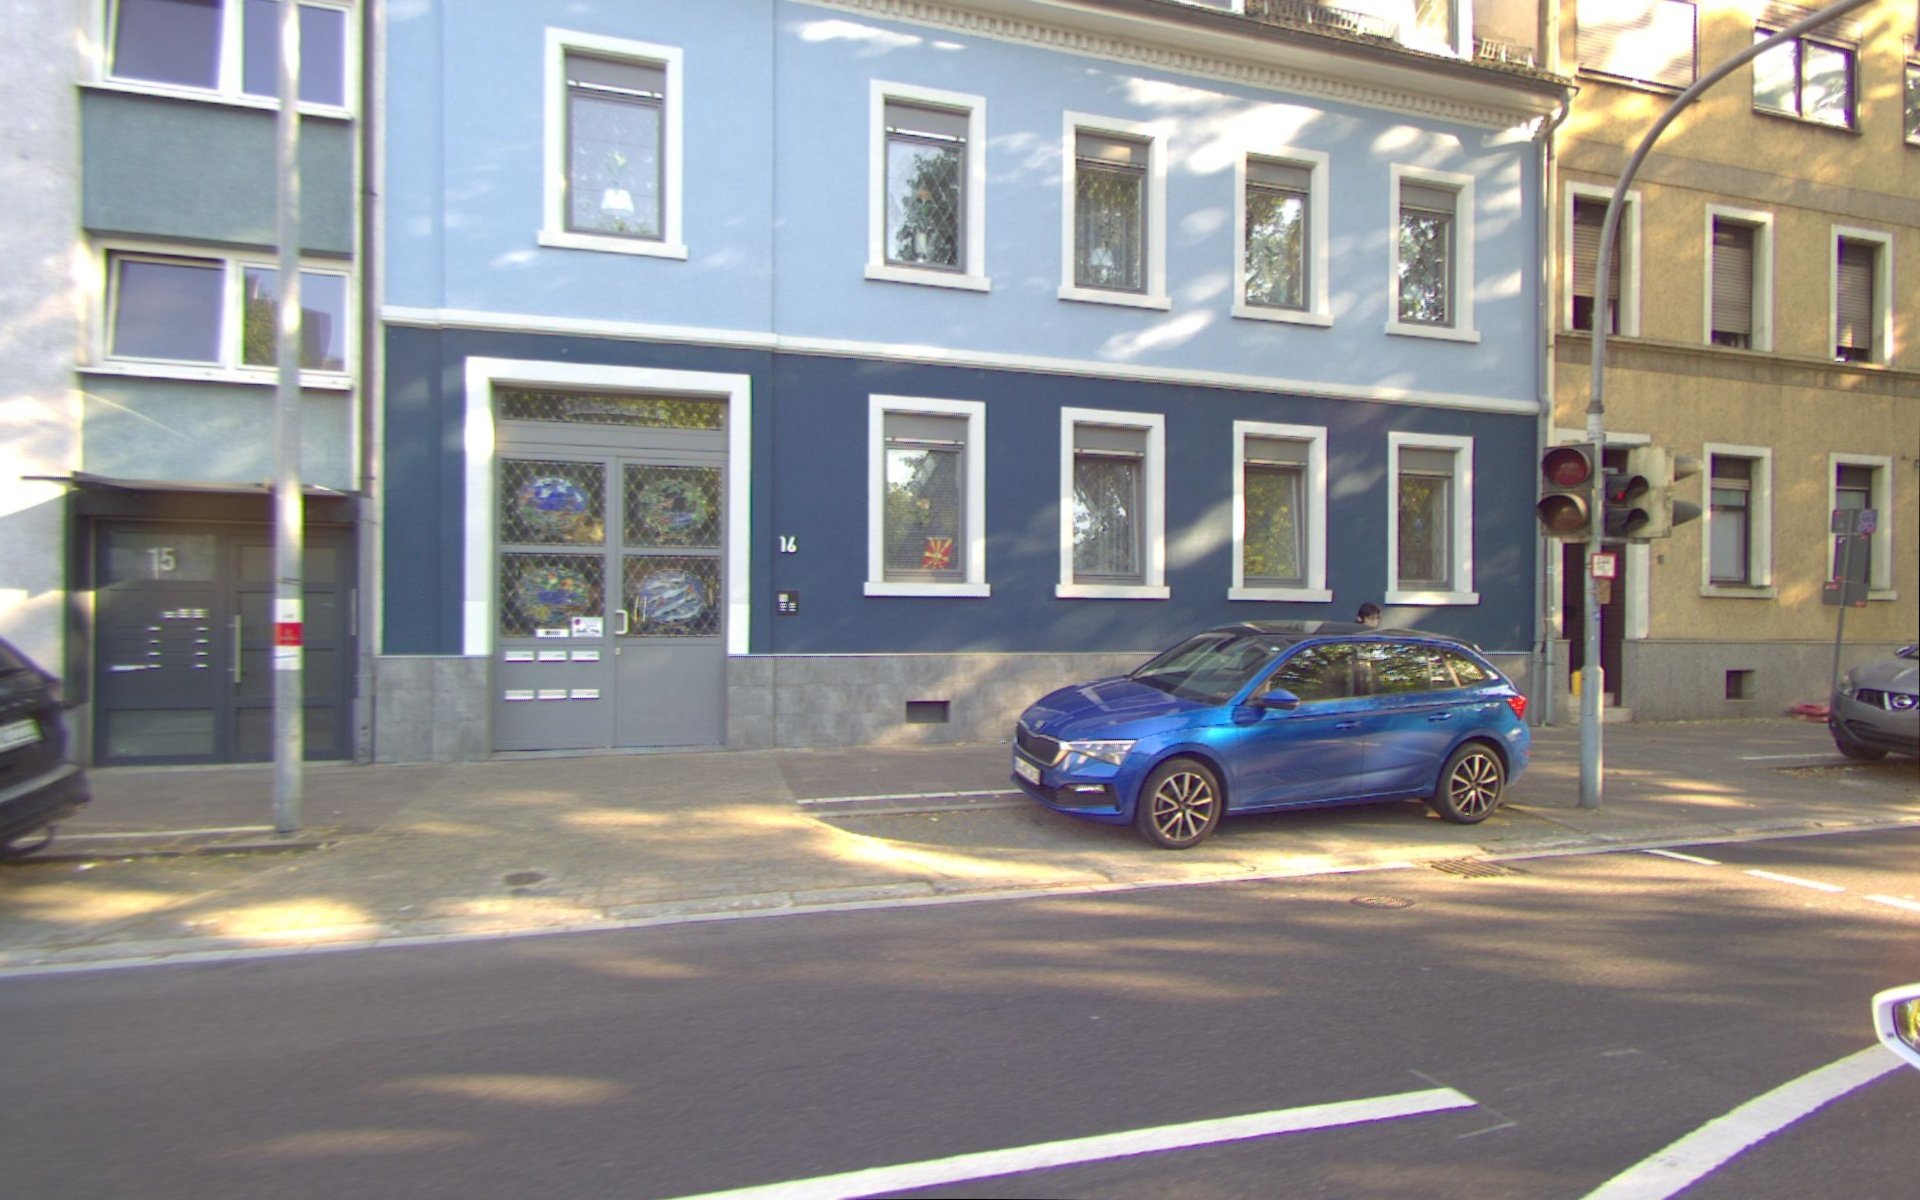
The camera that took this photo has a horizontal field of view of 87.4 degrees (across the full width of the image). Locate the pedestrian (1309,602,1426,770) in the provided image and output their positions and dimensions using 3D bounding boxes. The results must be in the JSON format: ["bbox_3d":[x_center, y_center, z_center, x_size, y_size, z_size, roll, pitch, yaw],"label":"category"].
[{"bbox_3d":[3.992,0.820,9.882,0.849,1.591,0.705,0,-1,-4],"label":"pedestrian"}]

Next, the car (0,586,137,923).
[{"bbox_3d":[-7.048,0.763,4.788,4.415,1.695,1.907,1,1,-13],"label":"car"}]

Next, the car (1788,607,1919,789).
[{"bbox_3d":[10.974,0.957,10.340,4.088,1.695,1.781,1,1,-16],"label":"car"}]

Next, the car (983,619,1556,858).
[{"bbox_3d":[2.433,0.944,8.027,4.195,1.506,1.649,1,1,-18],"label":"car"}]
